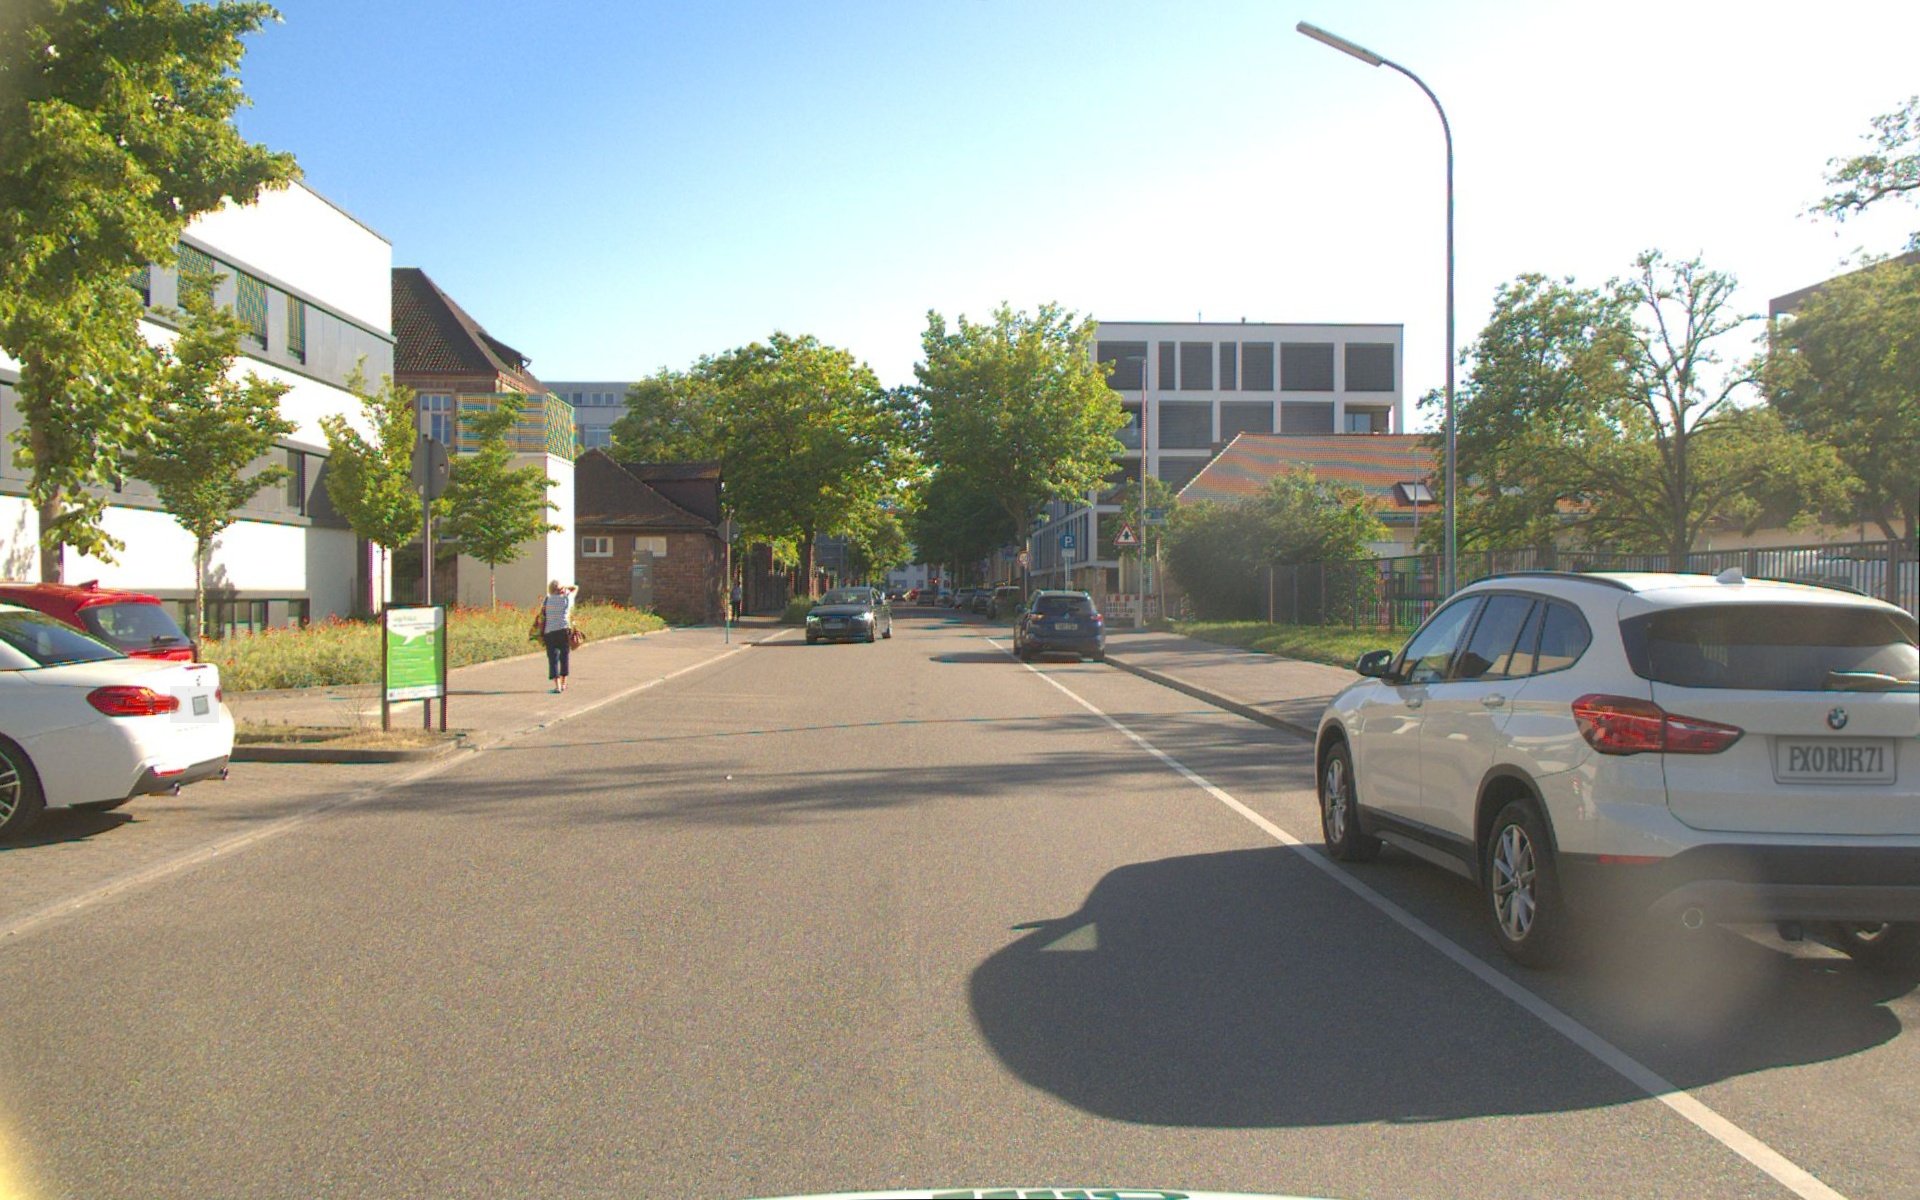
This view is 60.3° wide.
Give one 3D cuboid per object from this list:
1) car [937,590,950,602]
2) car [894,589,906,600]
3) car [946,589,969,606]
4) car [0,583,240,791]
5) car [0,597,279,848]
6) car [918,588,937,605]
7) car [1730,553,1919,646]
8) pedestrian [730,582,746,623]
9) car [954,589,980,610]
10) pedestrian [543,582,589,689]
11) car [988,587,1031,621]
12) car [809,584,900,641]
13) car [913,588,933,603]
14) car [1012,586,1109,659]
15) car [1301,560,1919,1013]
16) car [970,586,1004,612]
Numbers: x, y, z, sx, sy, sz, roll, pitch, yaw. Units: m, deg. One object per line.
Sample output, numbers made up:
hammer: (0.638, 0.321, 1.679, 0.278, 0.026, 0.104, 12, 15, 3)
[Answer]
car: (-2.036, -0.491, 206.907, 1.553, 1.424, 3.836, 0, 0, -1)
car: (-7.971, -0.730, 219.551, 1.620, 1.557, 3.999, 0, 0, -2)
car: (-0.242, -0.219, 141.820, 1.953, 1.491, 3.835, 0, 0, -1)
car: (-7.859, 0.620, 13.113, 3.559, 1.494, 1.614, 1, 1, 2)
car: (-6.847, 0.665, 10.331, 4.425, 1.391, 1.698, 2, 0, -6)
car: (-3.115, -0.371, 157.559, 1.732, 1.575, 4.063, 0, 0, -3)
car: (22.218, -0.042, 41.146, 5.173, 2.240, 2.001, 0, 1, 4)
pedestrian: (-8.770, 0.093, 65.405, 0.511, 1.590, 1.095, 0, 0, -3)
car: (0.496, -0.058, 125.763, 1.911, 1.606, 3.835, 0, 0, -1)
pedestrian: (-5.781, 0.511, 24.283, 0.527, 1.550, 0.607, 0, 0, -1)
car: (2.229, 0.148, 75.509, 1.669, 1.494, 4.787, 0, 0, -2)
car: (-2.839, 0.312, 45.359, 1.724, 1.467, 4.541, 0, 0, 6)
car: (-3.488, -0.422, 157.778, 1.851, 1.424, 3.836, 0, 1, -1)
car: (2.129, 0.440, 35.988, 1.781, 1.478, 4.213, 0, 1, -1)
car: (3.129, 0.663, 8.125, 1.777, 1.616, 4.259, 1, 1, -3)
car: (1.560, -0.080, 97.009, 1.732, 1.465, 3.998, 0, 0, -3)
